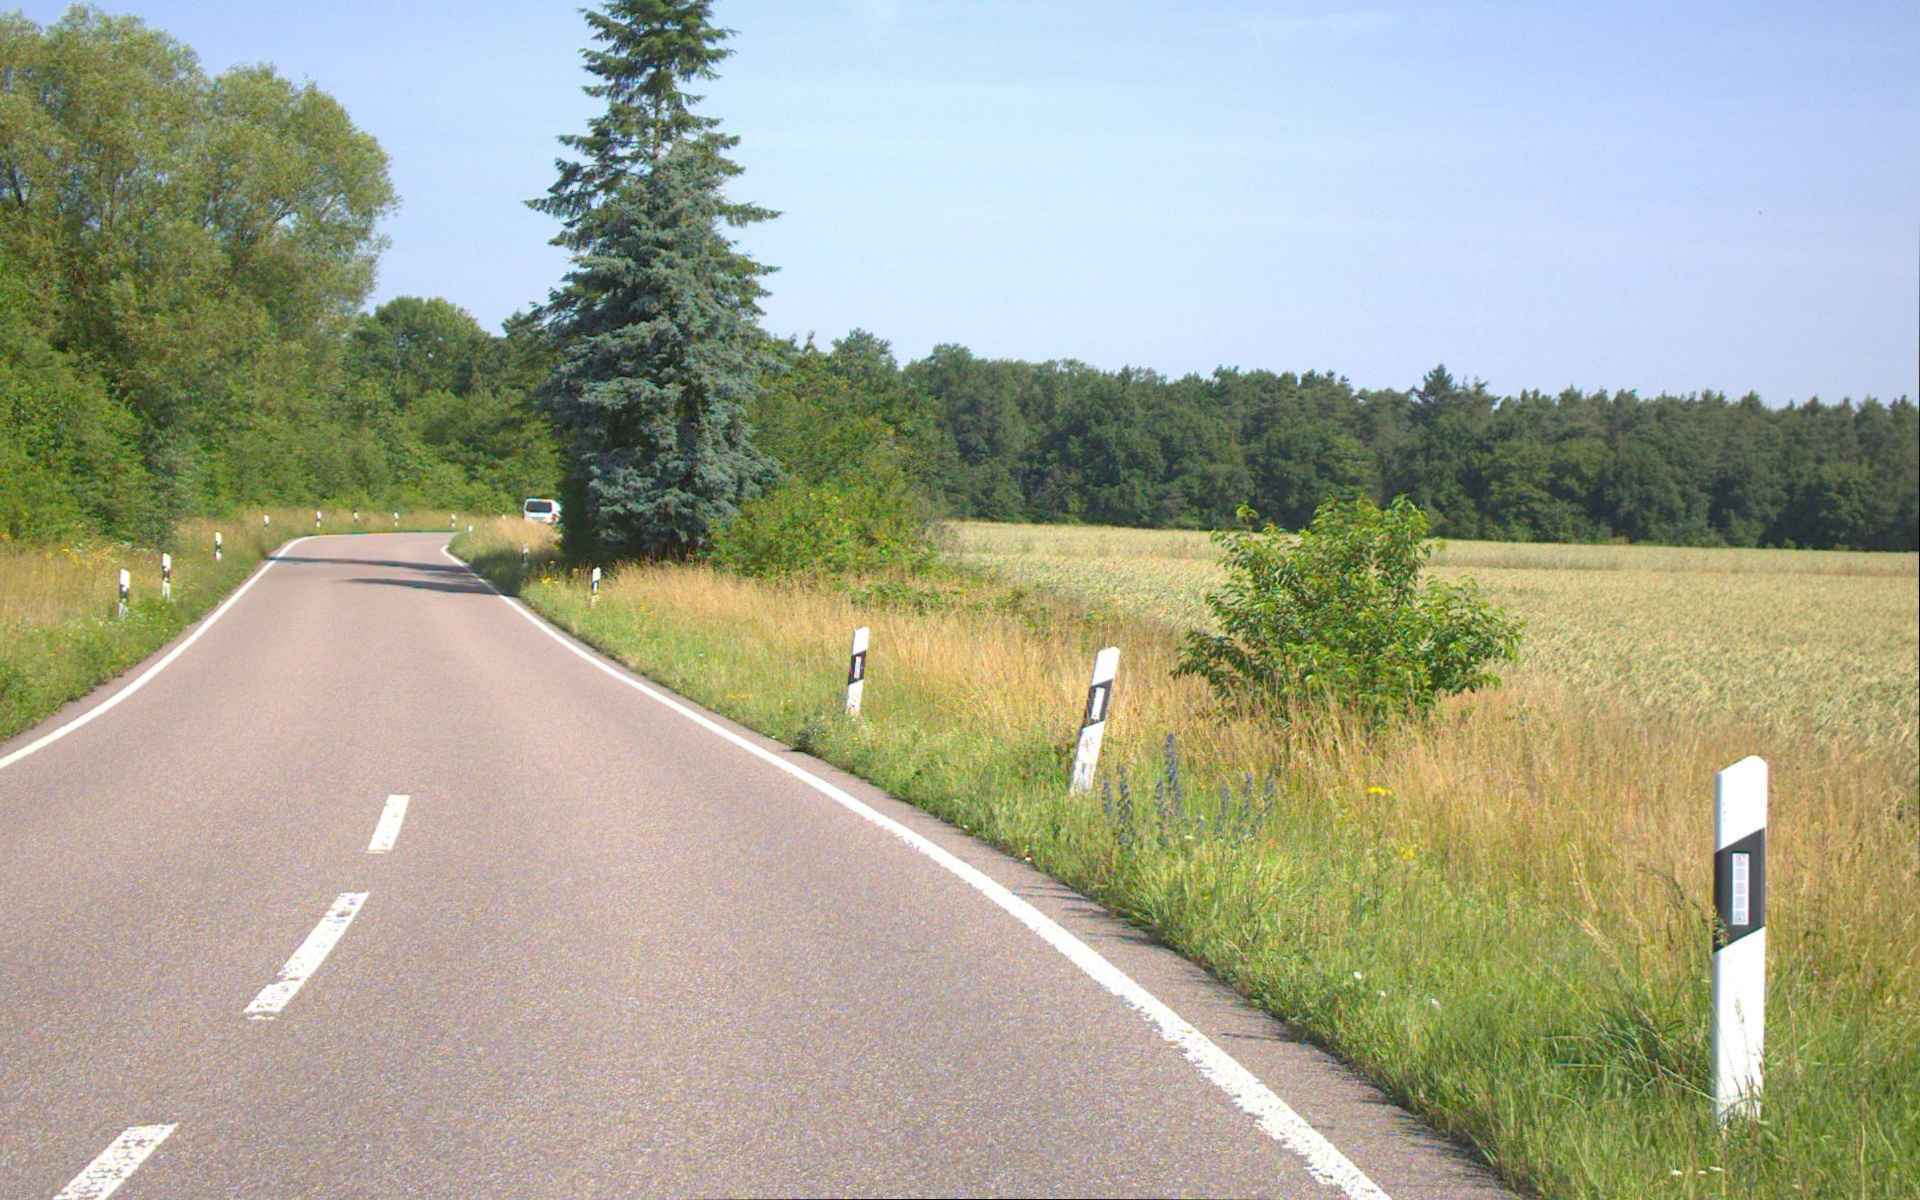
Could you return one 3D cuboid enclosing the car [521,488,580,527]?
[{"bbox_3d":[-21.162,-4.804,177.880,1.963,1.796,4.160,5,3,7],"label":"car"}]
